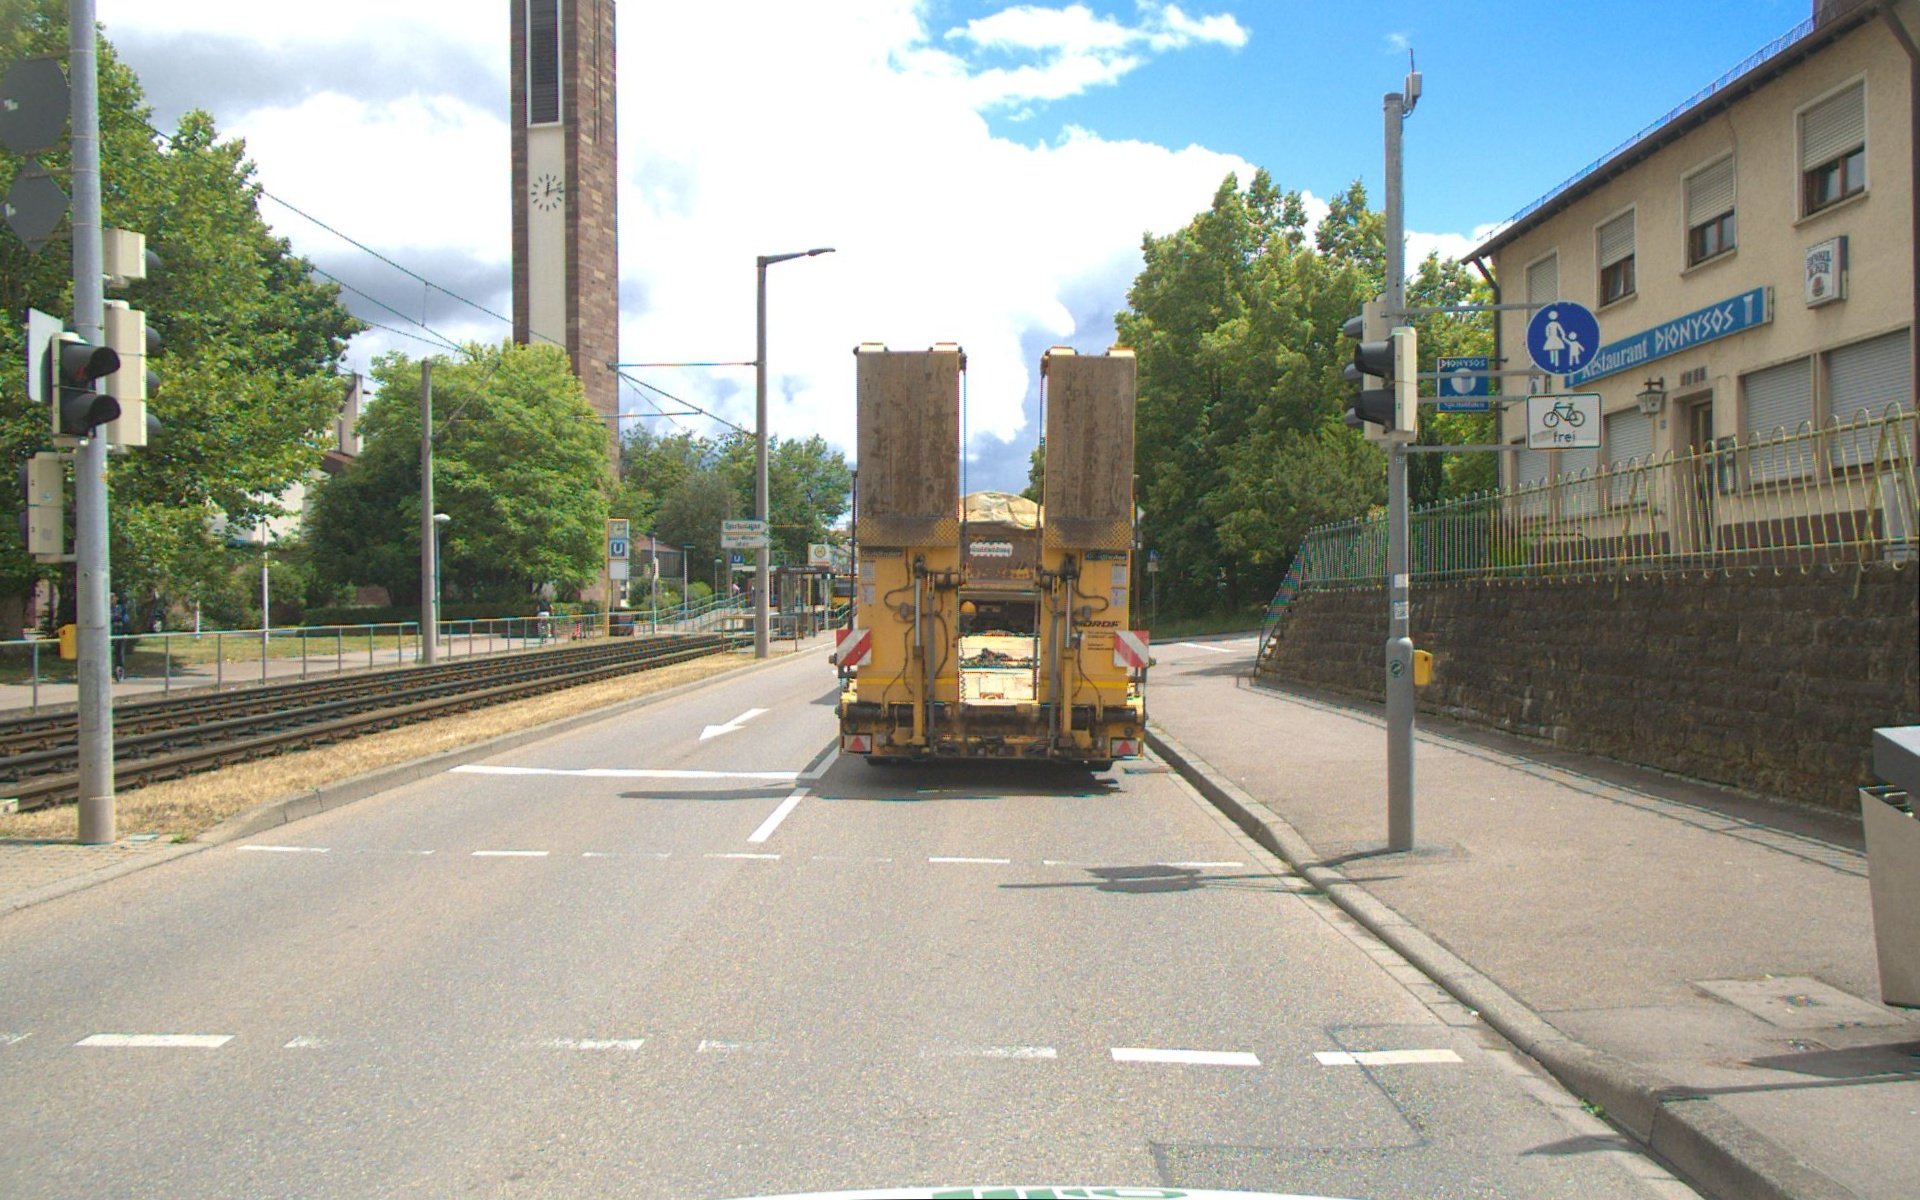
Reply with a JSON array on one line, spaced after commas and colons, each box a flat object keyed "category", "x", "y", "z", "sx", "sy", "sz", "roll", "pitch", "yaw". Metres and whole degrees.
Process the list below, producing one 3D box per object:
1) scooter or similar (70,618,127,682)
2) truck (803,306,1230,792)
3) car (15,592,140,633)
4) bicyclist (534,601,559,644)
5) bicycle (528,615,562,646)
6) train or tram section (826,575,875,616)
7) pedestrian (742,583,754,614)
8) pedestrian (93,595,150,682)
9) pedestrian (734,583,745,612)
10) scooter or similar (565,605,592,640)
[{"category": "scooter or similar", "x": -15.437, "y": 0.885, "z": 29.660, "sx": 0.592, "sy": 1.134, "sz": 0.821, "roll": 0, "pitch": -1, "yaw": -1}, {"category": "truck", "x": 0.244, "y": -0.377, "z": 19.866, "sx": 3.333, "sy": 3.798, "sz": 13.733, "roll": 0, "pitch": 0, "yaw": -2}, {"category": "car", "x": -36.640, "y": 0.527, "z": 68.790, "sx": 1.952, "sy": 1.601, "sz": 4.478, "roll": 1, "pitch": 0, "yaw": 18}, {"category": "bicyclist", "x": -14.205, "y": 0.753, "z": 56.795, "sx": 0.620, "sy": 1.454, "sz": 0.790, "roll": 1, "pitch": -1, "yaw": 0}, {"category": "bicycle", "x": -14.201, "y": 1.034, "z": 56.646, "sx": 0.624, "sy": 1.011, "sz": 1.928, "roll": 1, "pitch": 0, "yaw": 1}, {"category": "train or tram section", "x": -10.078, "y": -0.315, "z": 154.324, "sx": 3.044, "sy": 3.525, "sz": 18.826, "roll": 1, "pitch": 0, "yaw": 1}, {"category": "pedestrian", "x": -13.864, "y": -0.091, "z": 108.216, "sx": 0.697, "sy": 2.049, "sz": 0.731, "roll": 1, "pitch": -1, "yaw": -1}, {"category": "pedestrian", "x": -15.458, "y": 0.703, "z": 30.518, "sx": 0.600, "sy": 1.567, "sz": 0.874, "roll": 0, "pitch": -1, "yaw": -1}, {"category": "pedestrian", "x": -13.803, "y": -0.132, "z": 103.412, "sx": 0.572, "sy": 1.809, "sz": 0.576, "roll": 1, "pitch": -1, "yaw": 1}, {"category": "scooter or similar", "x": -14.051, "y": 0.819, "z": 60.911, "sx": 0.636, "sy": 1.258, "sz": 1.401, "roll": 1, "pitch": 0, "yaw": 1}]
